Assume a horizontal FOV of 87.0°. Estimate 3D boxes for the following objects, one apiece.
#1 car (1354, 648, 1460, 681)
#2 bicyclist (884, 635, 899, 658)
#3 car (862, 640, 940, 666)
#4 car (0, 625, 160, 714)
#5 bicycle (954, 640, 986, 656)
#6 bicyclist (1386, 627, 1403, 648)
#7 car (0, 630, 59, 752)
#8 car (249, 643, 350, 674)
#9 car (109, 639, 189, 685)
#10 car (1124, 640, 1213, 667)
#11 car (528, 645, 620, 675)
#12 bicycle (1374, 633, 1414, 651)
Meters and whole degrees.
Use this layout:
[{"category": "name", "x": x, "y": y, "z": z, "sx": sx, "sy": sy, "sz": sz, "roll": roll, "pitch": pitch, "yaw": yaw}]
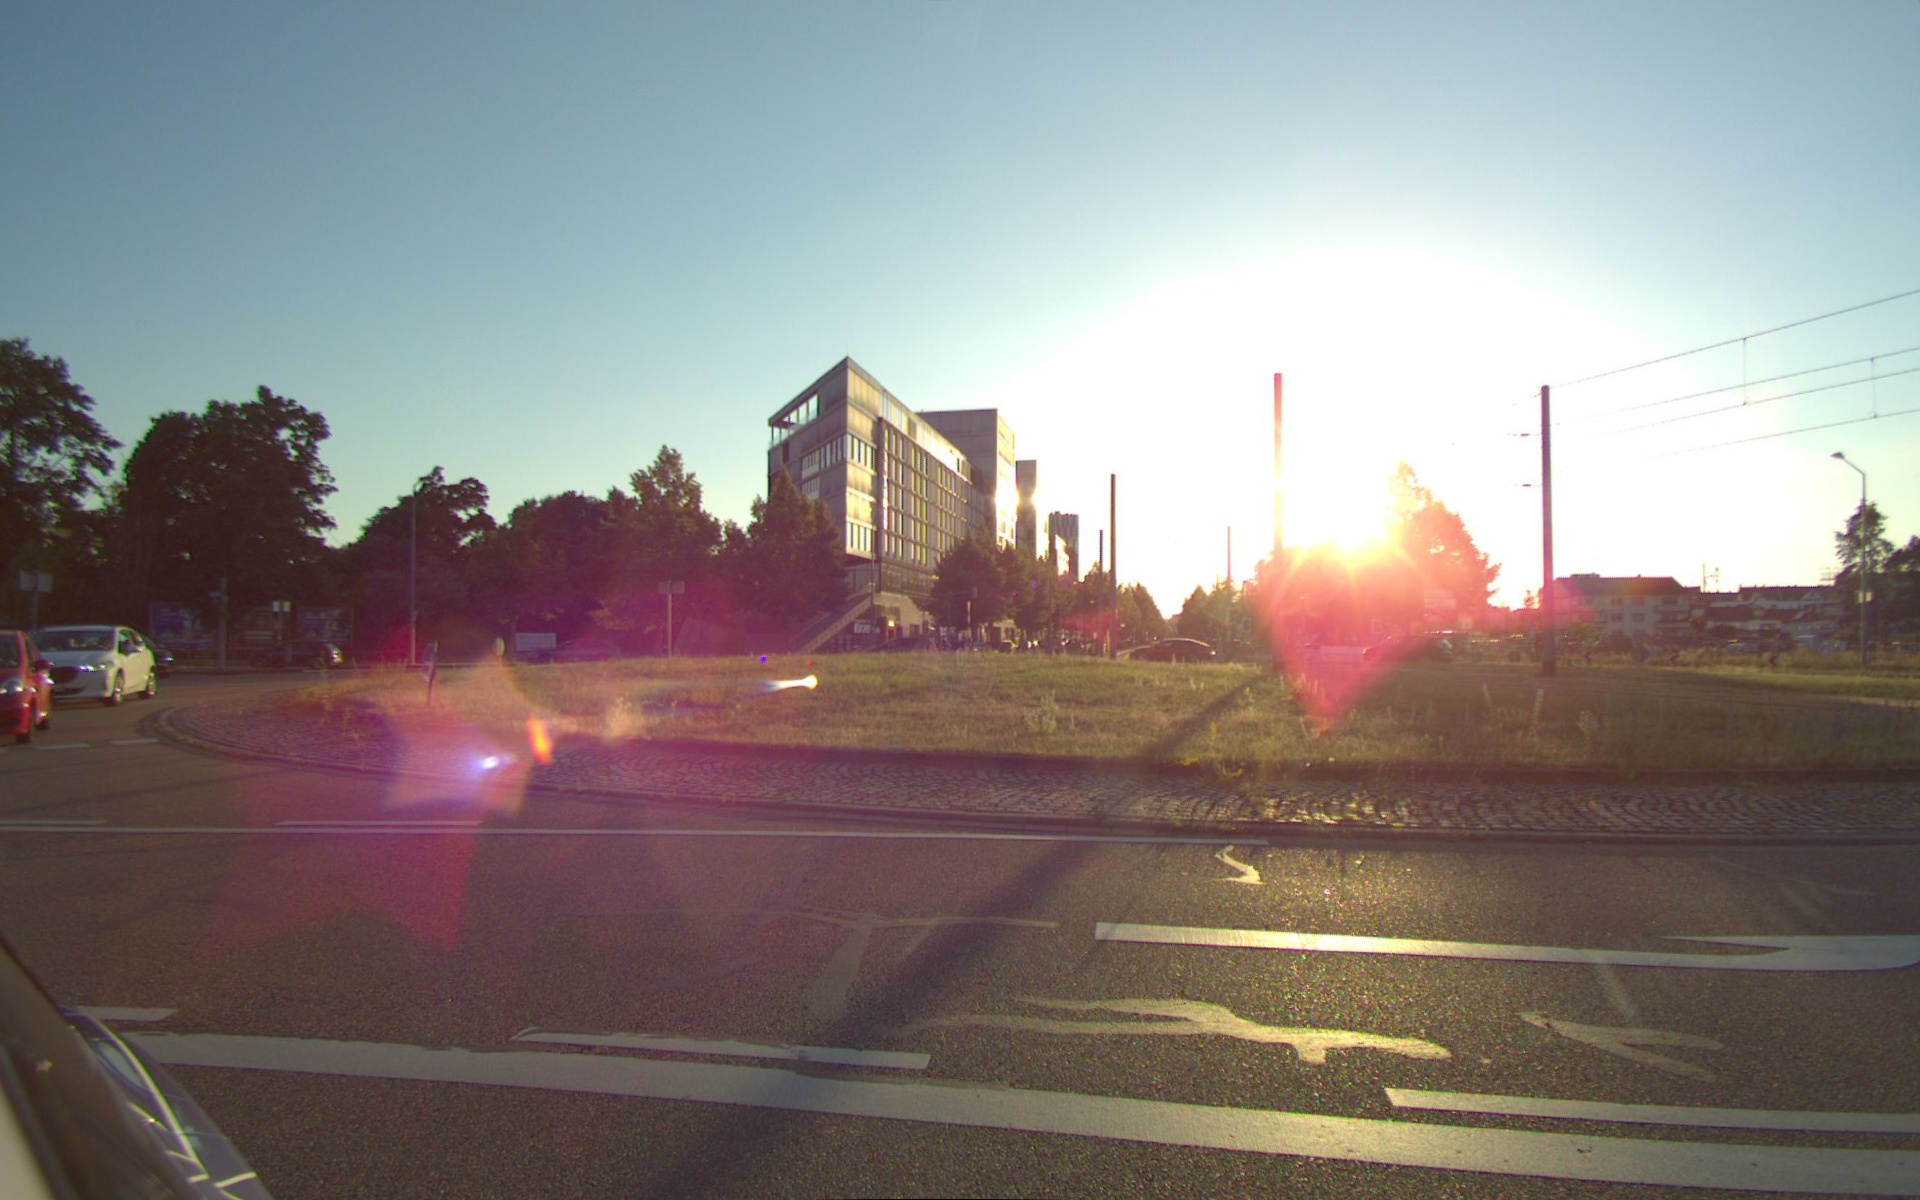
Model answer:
[{"category": "car", "x": 21.520, "y": 3.078, "z": 48.895, "sx": 1.912, "sy": 1.443, "sz": 4.332, "roll": 1, "pitch": -3, "yaw": -32}, {"category": "bicyclist", "x": -4.661, "y": 3.173, "z": 68.739, "sx": 0.965, "sy": 1.537, "sz": 0.754, "roll": 0, "pitch": -3, "yaw": 0}, {"category": "car", "x": -3.399, "y": 3.001, "z": 57.477, "sx": 4.336, "sy": 1.443, "sz": 1.947, "roll": 0, "pitch": -2, "yaw": -5}, {"category": "car", "x": -17.416, "y": 1.305, "z": 20.068, "sx": 1.730, "sy": 1.570, "sz": 4.227, "roll": 1, "pitch": -2, "yaw": -29}, {"category": "bicycle", "x": 0.740, "y": 3.597, "z": 76.123, "sx": 2.376, "sy": 1.176, "sz": 0.754, "roll": 0, "pitch": -3, "yaw": 1}, {"category": "bicyclist", "x": 29.337, "y": 2.534, "z": 68.369, "sx": 0.975, "sy": 1.405, "sz": 0.747, "roll": -1, "pitch": -3, "yaw": 31}, {"category": "car", "x": -13.109, "y": 1.122, "z": 13.239, "sx": 1.667, "sy": 1.432, "sz": 4.219, "roll": 2, "pitch": -3, "yaw": -38}, {"category": "car", "x": -32.370, "y": 2.832, "z": 49.688, "sx": 3.687, "sy": 1.443, "sz": 1.950, "roll": 0, "pitch": -2, "yaw": -14}, {"category": "car", "x": -29.253, "y": 2.194, "z": 36.637, "sx": 1.797, "sy": 1.570, "sz": 4.226, "roll": 1, "pitch": -3, "yaw": -33}, {"category": "car", "x": 11.663, "y": 2.994, "z": 56.532, "sx": 4.566, "sy": 1.443, "sz": 1.929, "roll": -1, "pitch": -2, "yaw": 24}, {"category": "car", "x": -20.137, "y": 3.094, "z": 52.841, "sx": 4.326, "sy": 1.443, "sz": 1.951, "roll": 1, "pitch": -2, "yaw": -25}, {"category": "bicycle", "x": 29.333, "y": 2.811, "z": 68.381, "sx": 2.400, "sy": 1.176, "sz": 0.746, "roll": -1, "pitch": -3, "yaw": 31}]
